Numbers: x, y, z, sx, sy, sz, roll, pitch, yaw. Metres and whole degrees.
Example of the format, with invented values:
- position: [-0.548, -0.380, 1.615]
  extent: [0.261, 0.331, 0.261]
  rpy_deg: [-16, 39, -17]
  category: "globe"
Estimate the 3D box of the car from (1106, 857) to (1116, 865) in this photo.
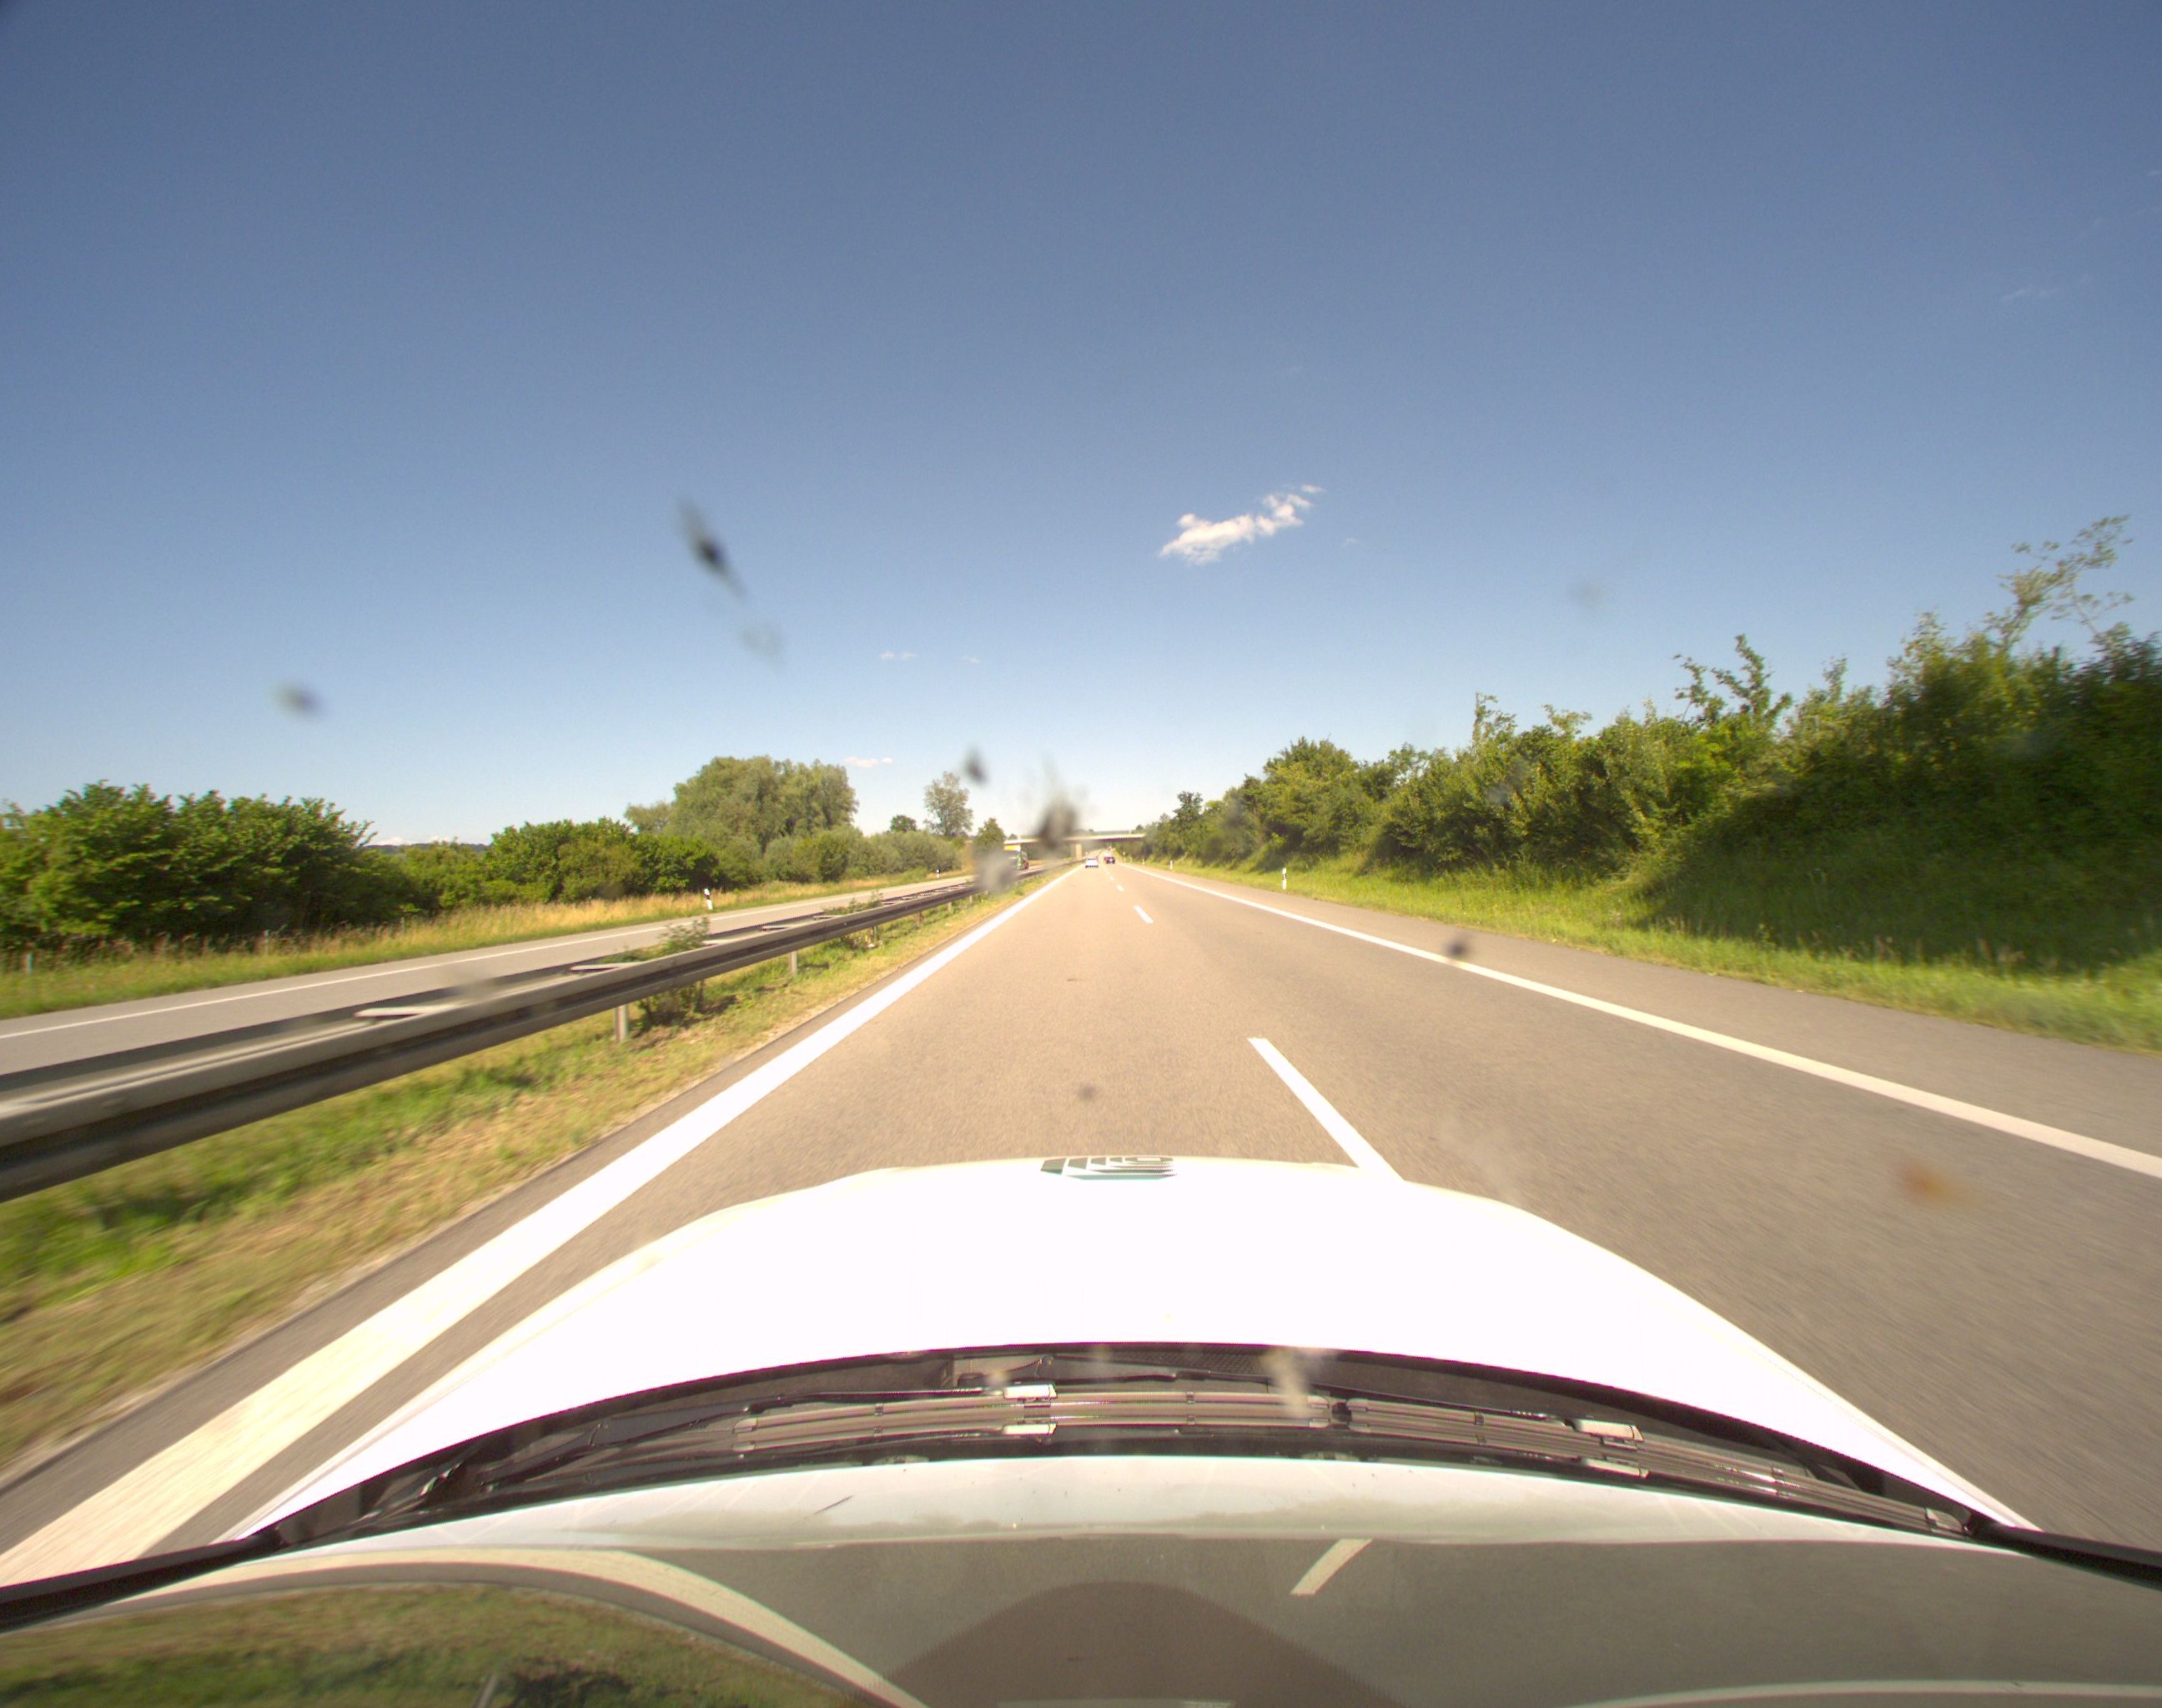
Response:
- position: [6.070, 1.369, 163.977]
  extent: [1.836, 1.520, 4.000]
  rpy_deg: [0, -1, 1]
  category: "car"

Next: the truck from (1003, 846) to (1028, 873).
- position: [-9.646, 0.777, 120.180]
  extent: [2.945, 3.731, 5.568]
  rpy_deg: [-3, -1, 0]
  category: "truck"

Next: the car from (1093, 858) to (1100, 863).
- position: [3.995, 1.750, 214.009]
  extent: [1.836, 1.436, 4.000]
  rpy_deg: [0, -1, 1]
  category: "car"

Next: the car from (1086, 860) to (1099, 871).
- position: [1.624, 1.587, 113.371]
  extent: [1.836, 1.416, 4.000]
  rpy_deg: [0, -1, 1]
  category: "car"

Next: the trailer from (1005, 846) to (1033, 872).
- position: [-9.553, 0.818, 126.314]
  extent: [2.970, 3.731, 12.420]
  rpy_deg: [-3, -1, 1]
  category: "trailer"
